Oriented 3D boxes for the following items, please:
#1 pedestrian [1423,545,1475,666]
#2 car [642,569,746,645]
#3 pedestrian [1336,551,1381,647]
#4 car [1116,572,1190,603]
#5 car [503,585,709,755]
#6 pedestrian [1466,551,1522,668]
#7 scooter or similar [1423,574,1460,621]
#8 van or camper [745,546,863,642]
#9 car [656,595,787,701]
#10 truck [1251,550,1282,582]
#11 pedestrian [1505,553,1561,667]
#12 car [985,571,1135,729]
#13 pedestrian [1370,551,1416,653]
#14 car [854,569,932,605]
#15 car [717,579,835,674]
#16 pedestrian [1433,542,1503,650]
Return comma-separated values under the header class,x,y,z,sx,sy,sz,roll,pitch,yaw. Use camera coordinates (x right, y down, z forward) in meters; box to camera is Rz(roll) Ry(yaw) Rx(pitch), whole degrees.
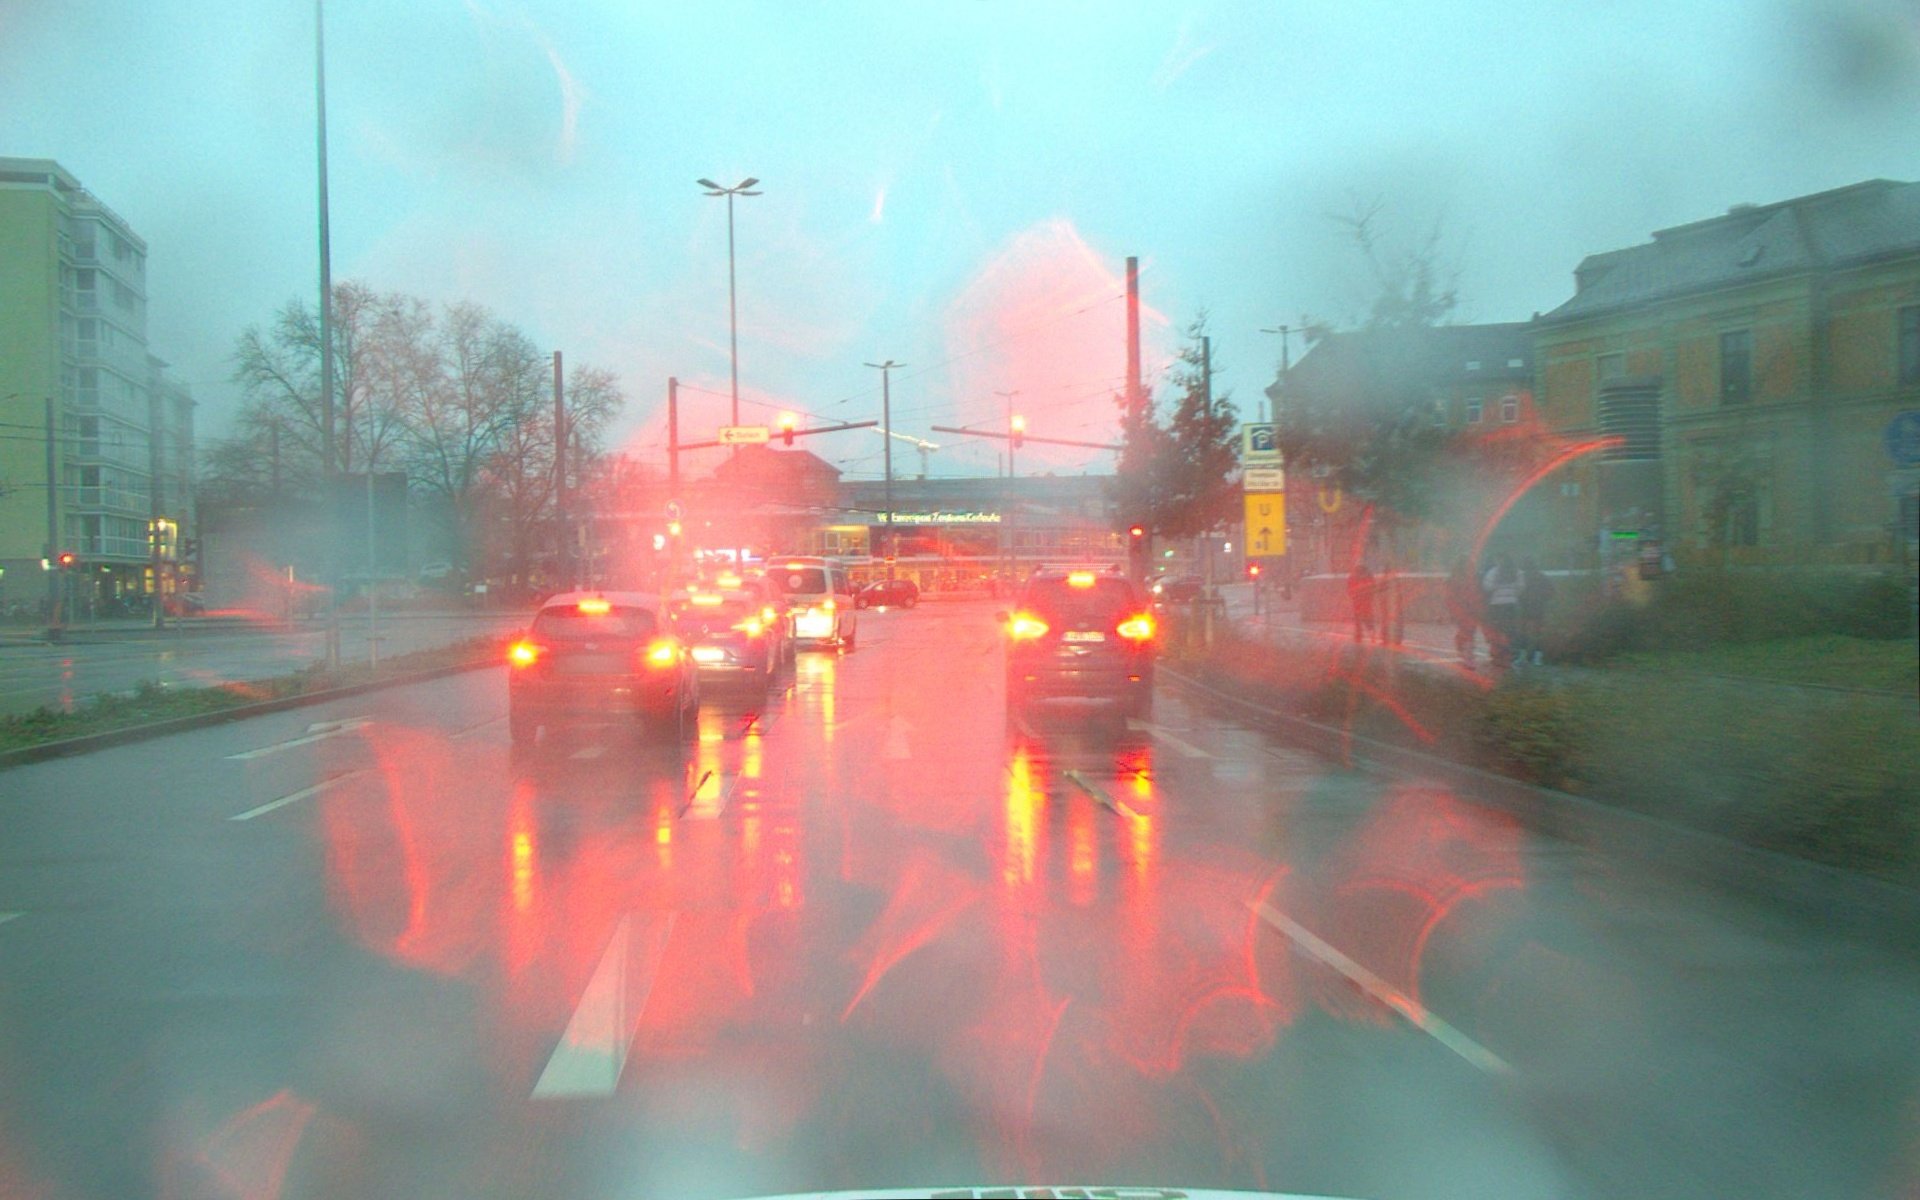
class,x,y,z,sx,sy,sz,roll,pitch,yaw
pedestrian,7.520,0.088,25.418,0.572,1.812,0.768,-3,-1,26
car,-6.715,0.151,42.100,1.845,1.803,4.001,-1,0,2
pedestrian,8.312,-0.038,34.491,0.791,1.963,0.760,1,3,26
car,10.264,-0.676,87.825,1.965,1.541,3.975,-1,1,43
car,-3.586,0.640,17.350,1.668,1.507,3.867,2,1,-6
pedestrian,8.117,0.136,25.149,0.654,1.717,0.611,-3,1,26
scooter or similar,12.887,-0.072,44.263,0.504,1.235,1.378,-1,0,36
van or camper,-3.652,-0.161,39.673,2.156,2.146,4.989,0,0,2
car,-3.523,0.661,25.005,1.626,1.428,4.117,1,0,-4
truck,27.273,-3.012,147.068,1.952,2.738,5.118,-1,0,18
pedestrian,8.784,0.150,25.336,0.703,1.717,0.760,-1,0,25
car,1.290,0.543,21.472,1.740,1.831,4.427,0,1,3
pedestrian,8.951,0.031,34.195,0.791,2.048,0.760,1,3,26
car,-3.577,-0.706,87.685,3.914,1.802,1.996,-2,1,-10
car,-3.417,0.449,31.404,1.749,1.628,4.541,1,0,-1
pedestrian,8.746,-0.067,28.489,0.839,1.822,0.744,-1,0,-21
